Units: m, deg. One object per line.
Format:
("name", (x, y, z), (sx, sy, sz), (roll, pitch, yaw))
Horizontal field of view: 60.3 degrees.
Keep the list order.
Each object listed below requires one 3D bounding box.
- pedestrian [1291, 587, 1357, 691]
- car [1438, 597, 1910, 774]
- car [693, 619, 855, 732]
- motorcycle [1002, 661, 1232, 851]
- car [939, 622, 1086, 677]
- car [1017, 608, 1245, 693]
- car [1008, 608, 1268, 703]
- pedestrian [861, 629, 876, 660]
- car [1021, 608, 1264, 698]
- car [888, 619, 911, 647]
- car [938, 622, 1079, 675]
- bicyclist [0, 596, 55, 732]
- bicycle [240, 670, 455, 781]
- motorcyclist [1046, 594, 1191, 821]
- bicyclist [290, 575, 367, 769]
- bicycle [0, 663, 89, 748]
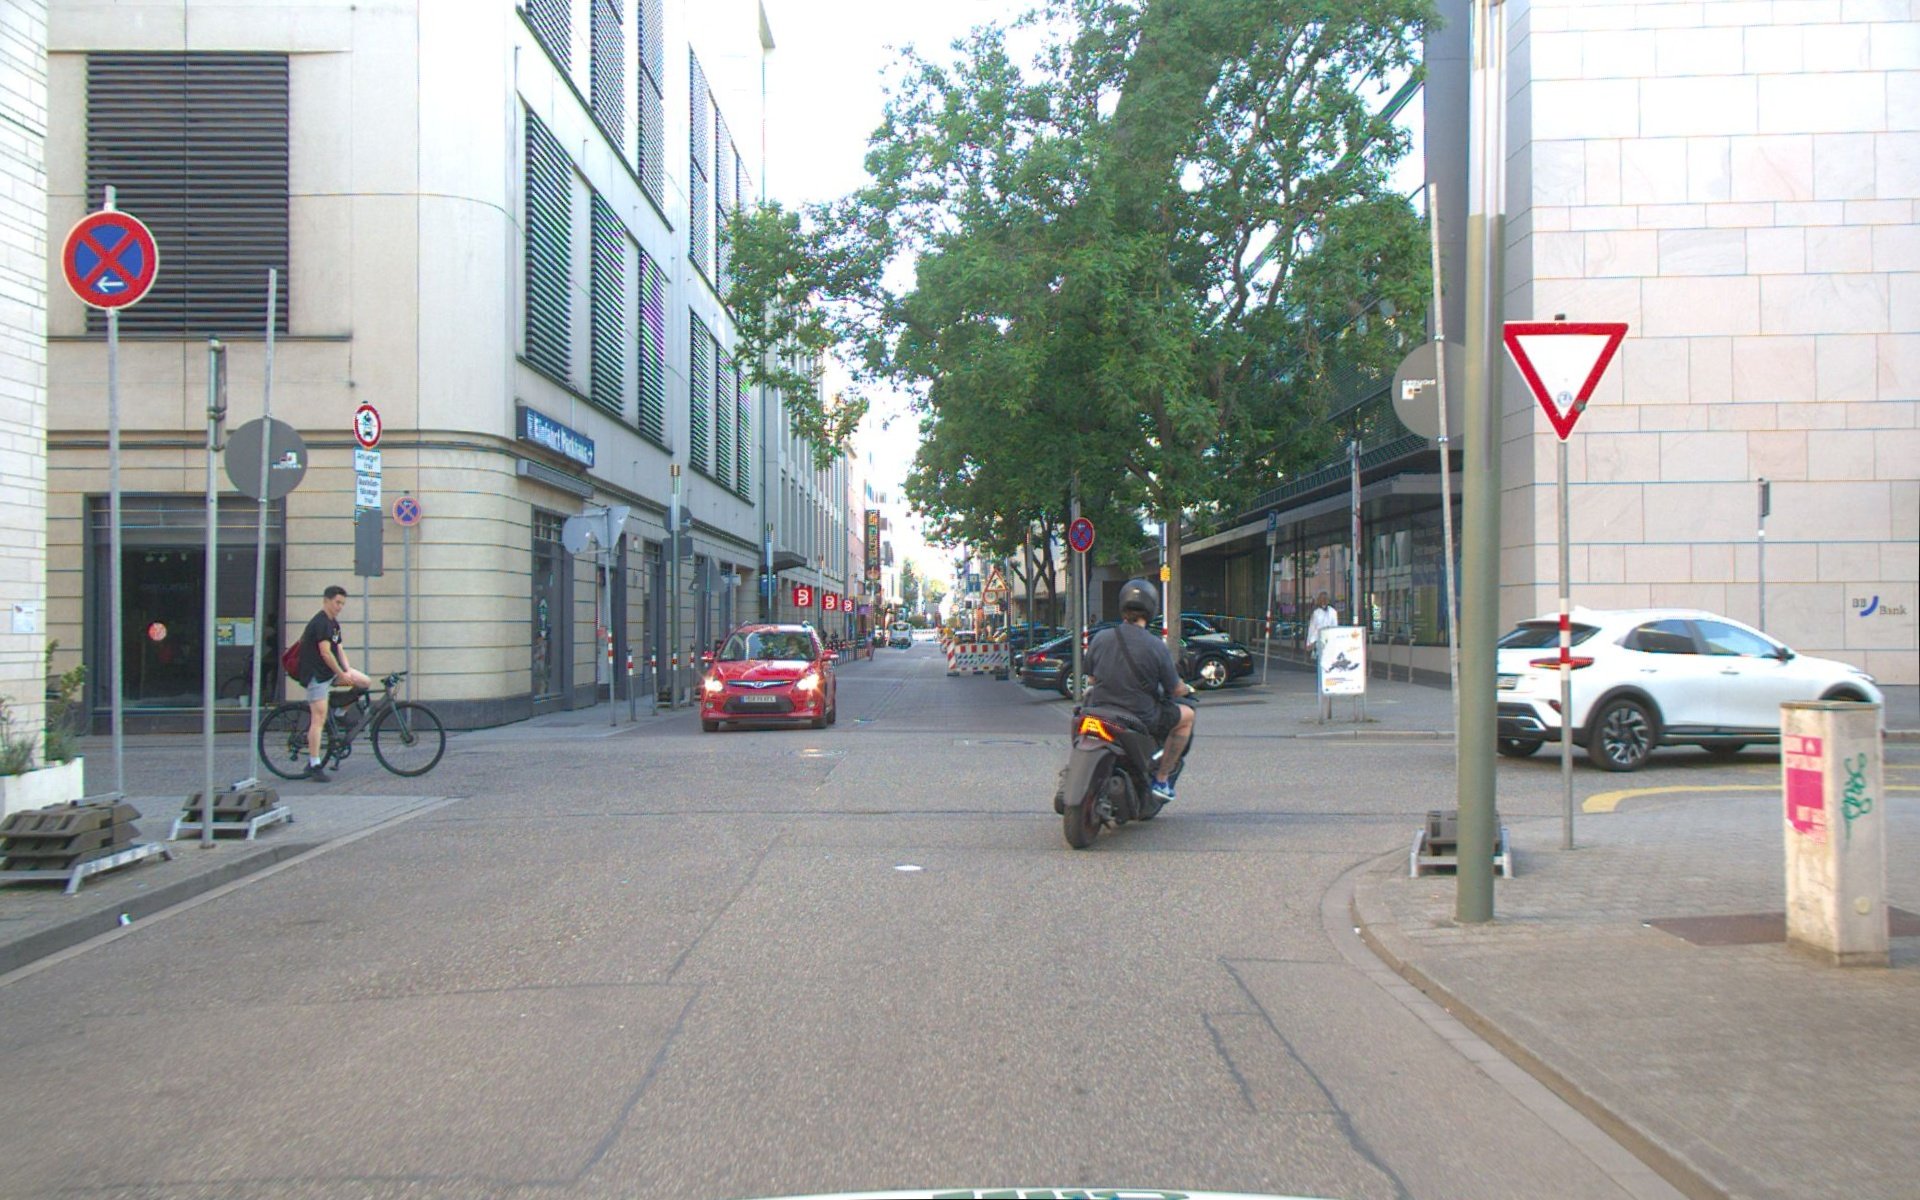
("pedestrian", (6.396, 0.687, 29.117), (0.887, 1.736, 0.834), (-3, -2, 1))
("car", (7.090, 0.781, 16.499), (4.183, 1.568, 1.819), (0, 0, -18))
("car", (-2.633, 1.106, 24.310), (1.784, 1.491, 4.263), (-1, -3, 2))
("motorcycle", (1.090, 0.985, 11.048), (0.856, 1.129, 1.836), (-1, -2, 30))
("car", (1.805, 1.722, 57.648), (4.905, 1.525, 1.999), (-4, -1, -3))
("car", (3.894, 1.159, 38.226), (4.905, 1.525, 1.999), (-4, -1, -3))
("car", (3.538, 1.107, 33.461), (4.905, 1.477, 1.999), (-4, -1, -3))
("pedestrian", (-4.846, 2.351, 87.613), (0.717, 1.602, 0.636), (0, -2, 0))
("car", (3.894, 1.143, 35.869), (4.905, 1.525, 1.999), (-4, -1, -3))
("car", (-5.335, 2.889, 145.759), (1.954, 2.370, 5.017), (1, -1, -3))
("car", (1.717, 1.773, 60.178), (4.905, 1.525, 1.999), (-4, -1, -3))
("bicyclist", (-11.671, 0.786, 20.466), (0.616, 1.654, 0.498), (0, -2, 4))
("bicycle", (-5.647, 1.149, 15.315), (1.781, 0.991, 0.510), (0, -2, -9))
("motorcyclist", (1.056, 0.698, 11.009), (0.851, 1.452, 0.455), (-1, -2, 30))
("bicyclist", (-5.834, 0.661, 15.300), (0.540, 1.762, 0.500), (0, -2, -9))
("bicycle", (-11.922, 1.295, 20.469), (2.058, 1.012, 0.519), (0, -2, 5))
